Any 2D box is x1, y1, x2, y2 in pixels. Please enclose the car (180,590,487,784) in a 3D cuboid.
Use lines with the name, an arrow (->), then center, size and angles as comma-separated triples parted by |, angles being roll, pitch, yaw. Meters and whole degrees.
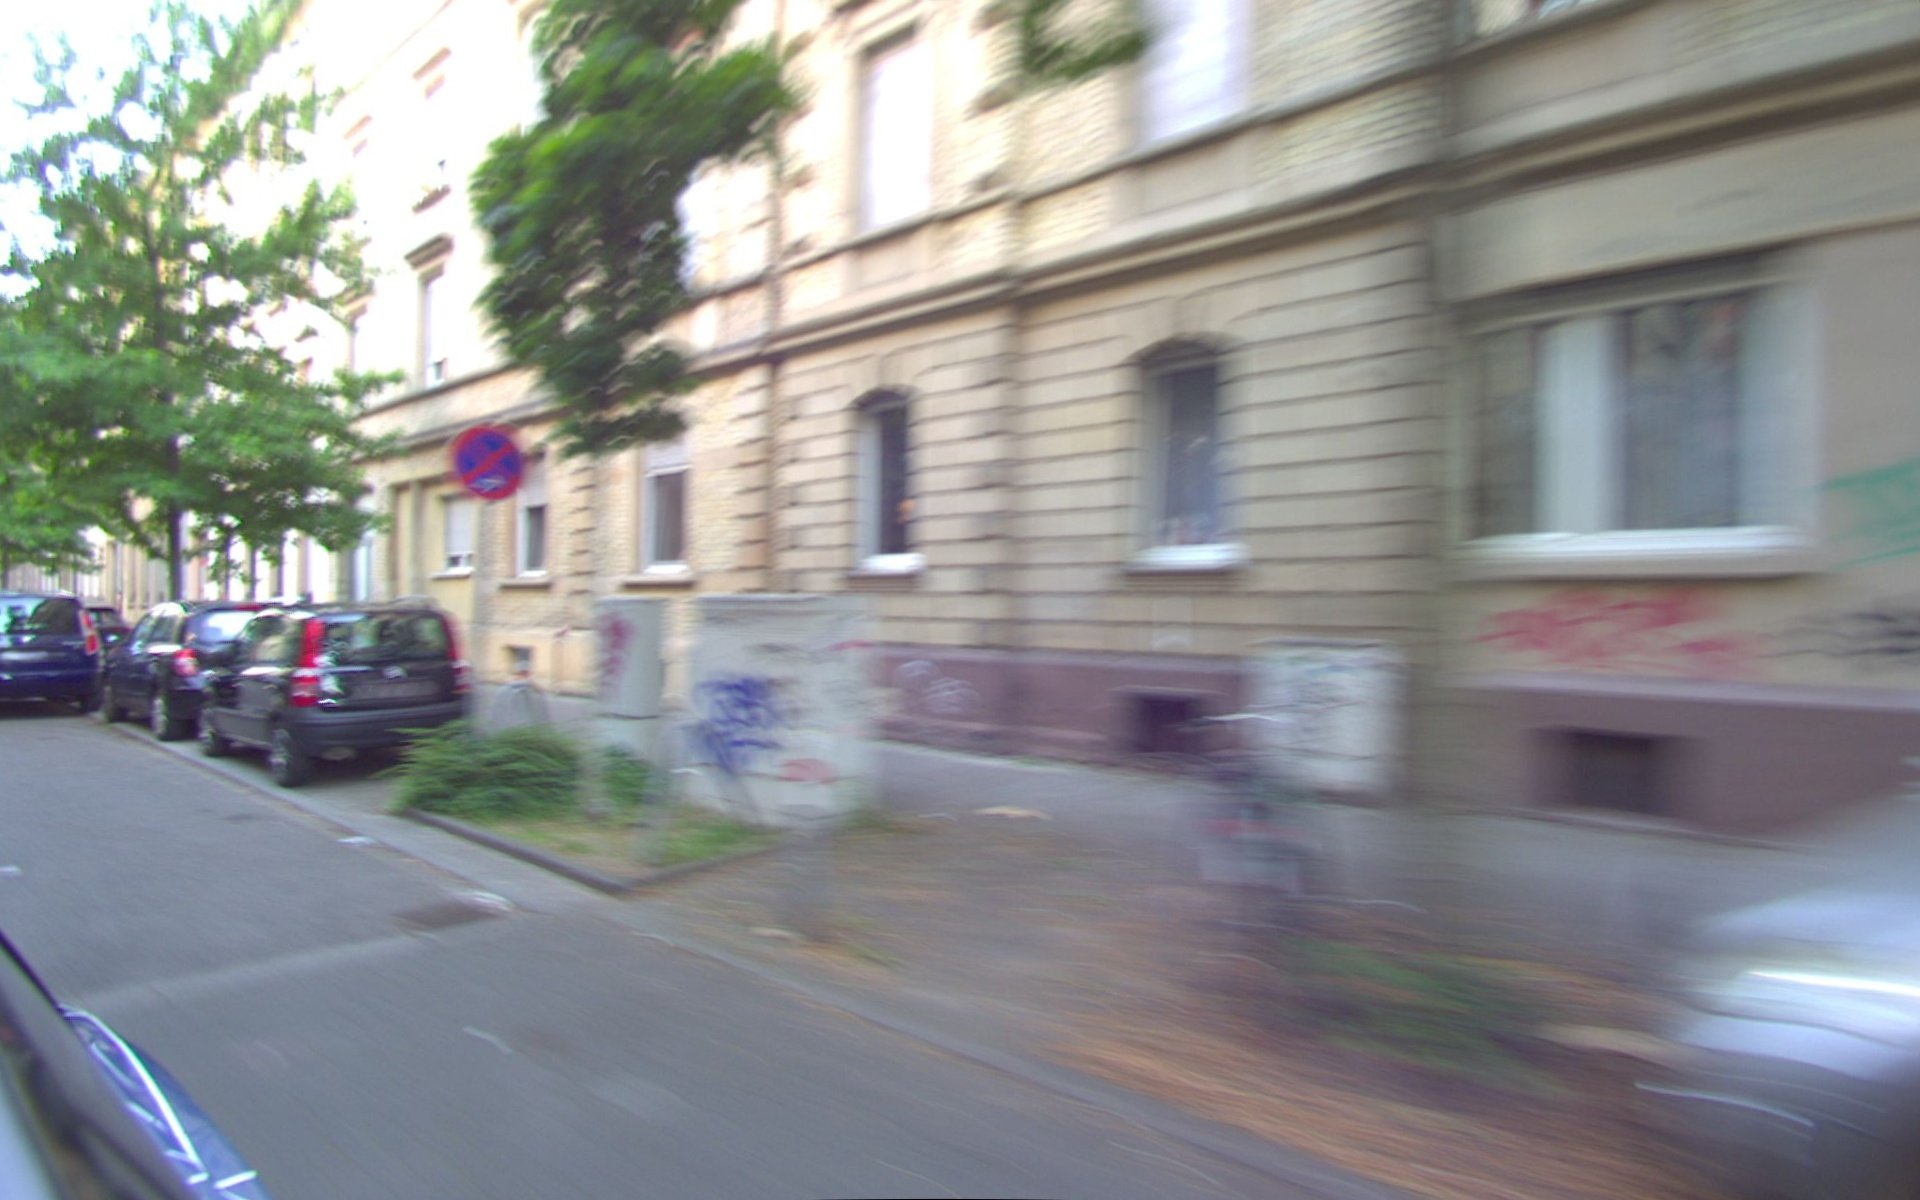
car -> -6.091, 0.670, 9.695 | 3.559, 1.513, 1.503 | 0, 1, 41

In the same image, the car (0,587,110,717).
car -> -13.232, 0.638, 13.925 | 4.217, 1.585, 1.706 | 0, -1, 41

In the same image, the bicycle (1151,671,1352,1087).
bicycle -> 1.222, 0.899, 3.985 | 0.592, 1.068, 1.857 | 0, 1, 21

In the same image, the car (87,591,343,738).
car -> -9.097, 0.650, 12.266 | 3.709, 1.513, 1.674 | 0, 1, 40

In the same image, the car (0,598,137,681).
car -> -17.943, 0.708, 20.059 | 4.255, 1.473, 1.749 | 0, 0, 40

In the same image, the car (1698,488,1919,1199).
car -> 3.572, 0.586, 1.494 | 3.861, 1.619, 1.658 | 0, 0, 43
